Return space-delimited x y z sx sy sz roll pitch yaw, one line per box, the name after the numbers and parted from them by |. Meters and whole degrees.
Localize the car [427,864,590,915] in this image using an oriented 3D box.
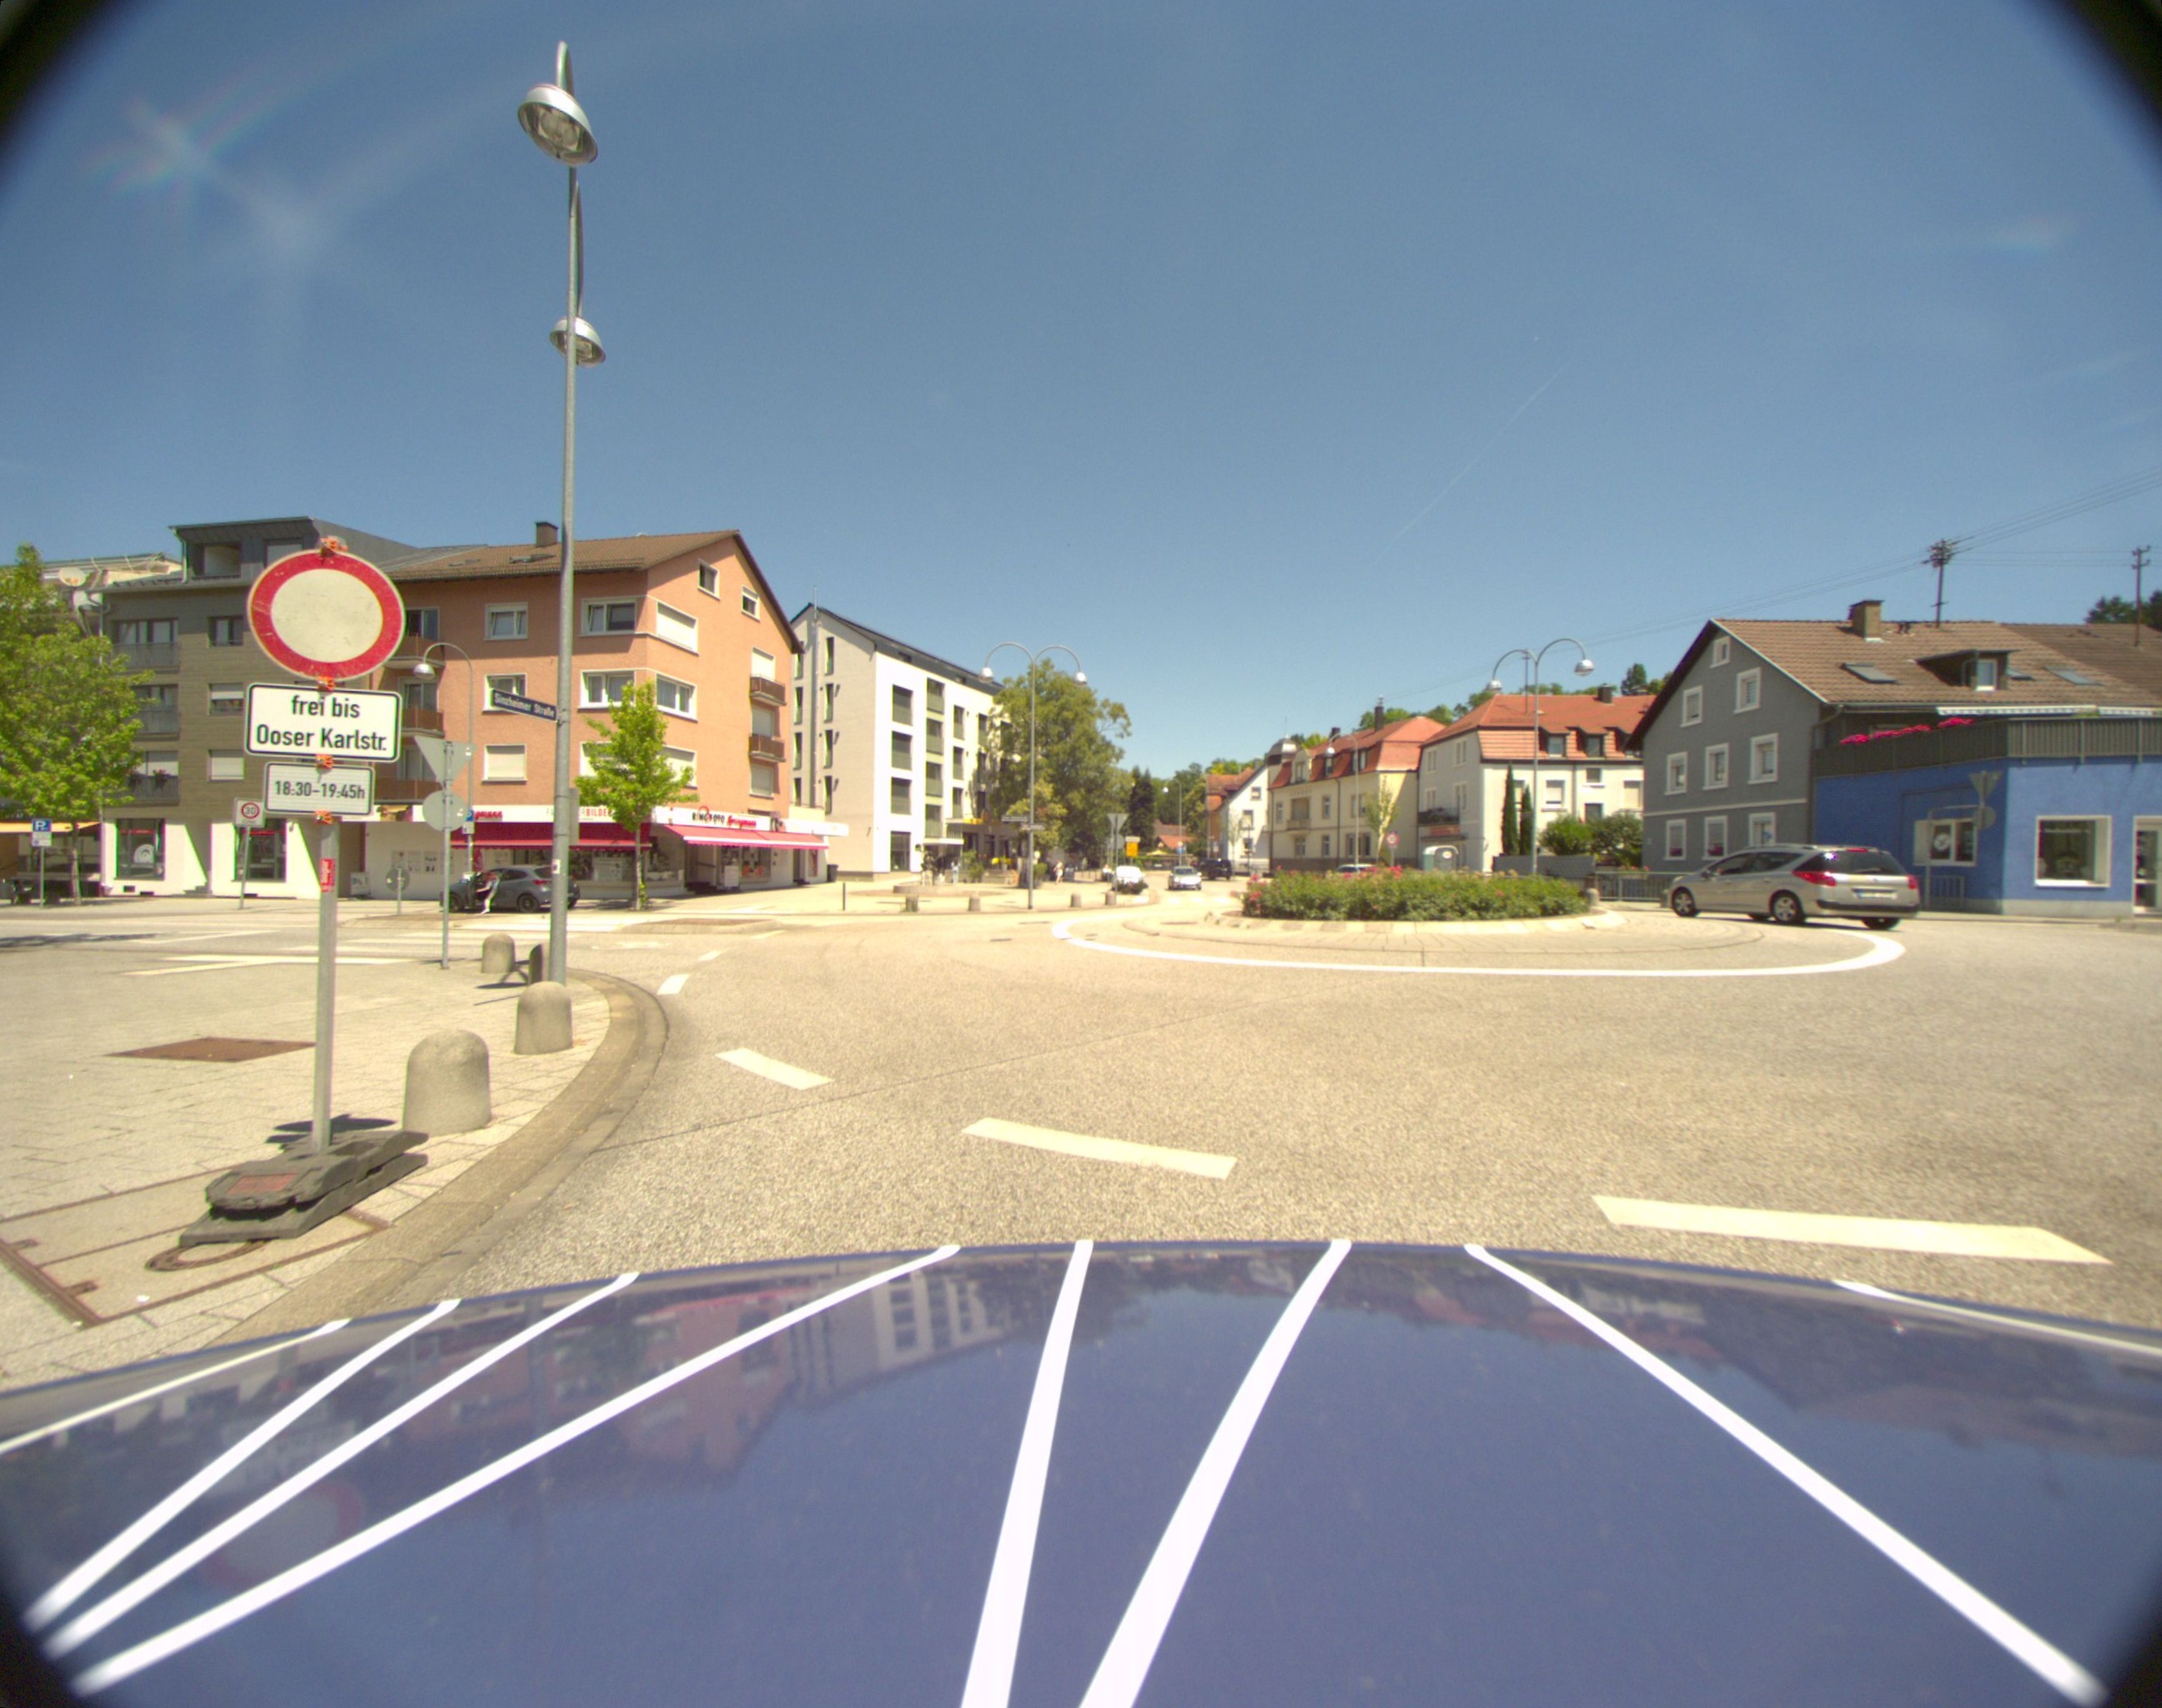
-18.253 1.100 24.332 4.056 1.478 1.672 0 3 6 | car

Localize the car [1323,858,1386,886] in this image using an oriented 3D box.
15.104 0.955 42.181 1.609 1.384 4.076 -3 0 -7 | car

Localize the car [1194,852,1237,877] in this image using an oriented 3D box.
11.399 0.854 64.474 2.001 2.002 3.993 -1 2 -16 | car

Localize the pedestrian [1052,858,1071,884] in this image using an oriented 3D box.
-1.237 1.090 48.726 0.816 1.639 0.953 0 0 40 | pedestrian

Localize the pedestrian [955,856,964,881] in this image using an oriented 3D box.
-7.705 0.911 48.023 0.449 1.609 0.451 0 0 7 | pedestrian

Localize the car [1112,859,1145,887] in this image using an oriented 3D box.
2.644 1.059 43.111 1.795 1.515 4.001 0 0 2 | car

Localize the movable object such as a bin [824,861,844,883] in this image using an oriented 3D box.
-13.907 1.023 42.830 0.746 1.245 0.838 0 0 11 | movable object such as a bin

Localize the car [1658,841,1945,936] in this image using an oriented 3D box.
13.434 0.538 14.605 1.743 1.508 4.209 2 1 6 | car

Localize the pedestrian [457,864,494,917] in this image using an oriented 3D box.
-18.490 1.109 23.217 0.559 1.600 0.735 0 0 0 | pedestrian

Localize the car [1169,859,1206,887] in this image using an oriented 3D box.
6.577 1.123 47.408 1.998 1.646 4.205 0 0 4 | car
